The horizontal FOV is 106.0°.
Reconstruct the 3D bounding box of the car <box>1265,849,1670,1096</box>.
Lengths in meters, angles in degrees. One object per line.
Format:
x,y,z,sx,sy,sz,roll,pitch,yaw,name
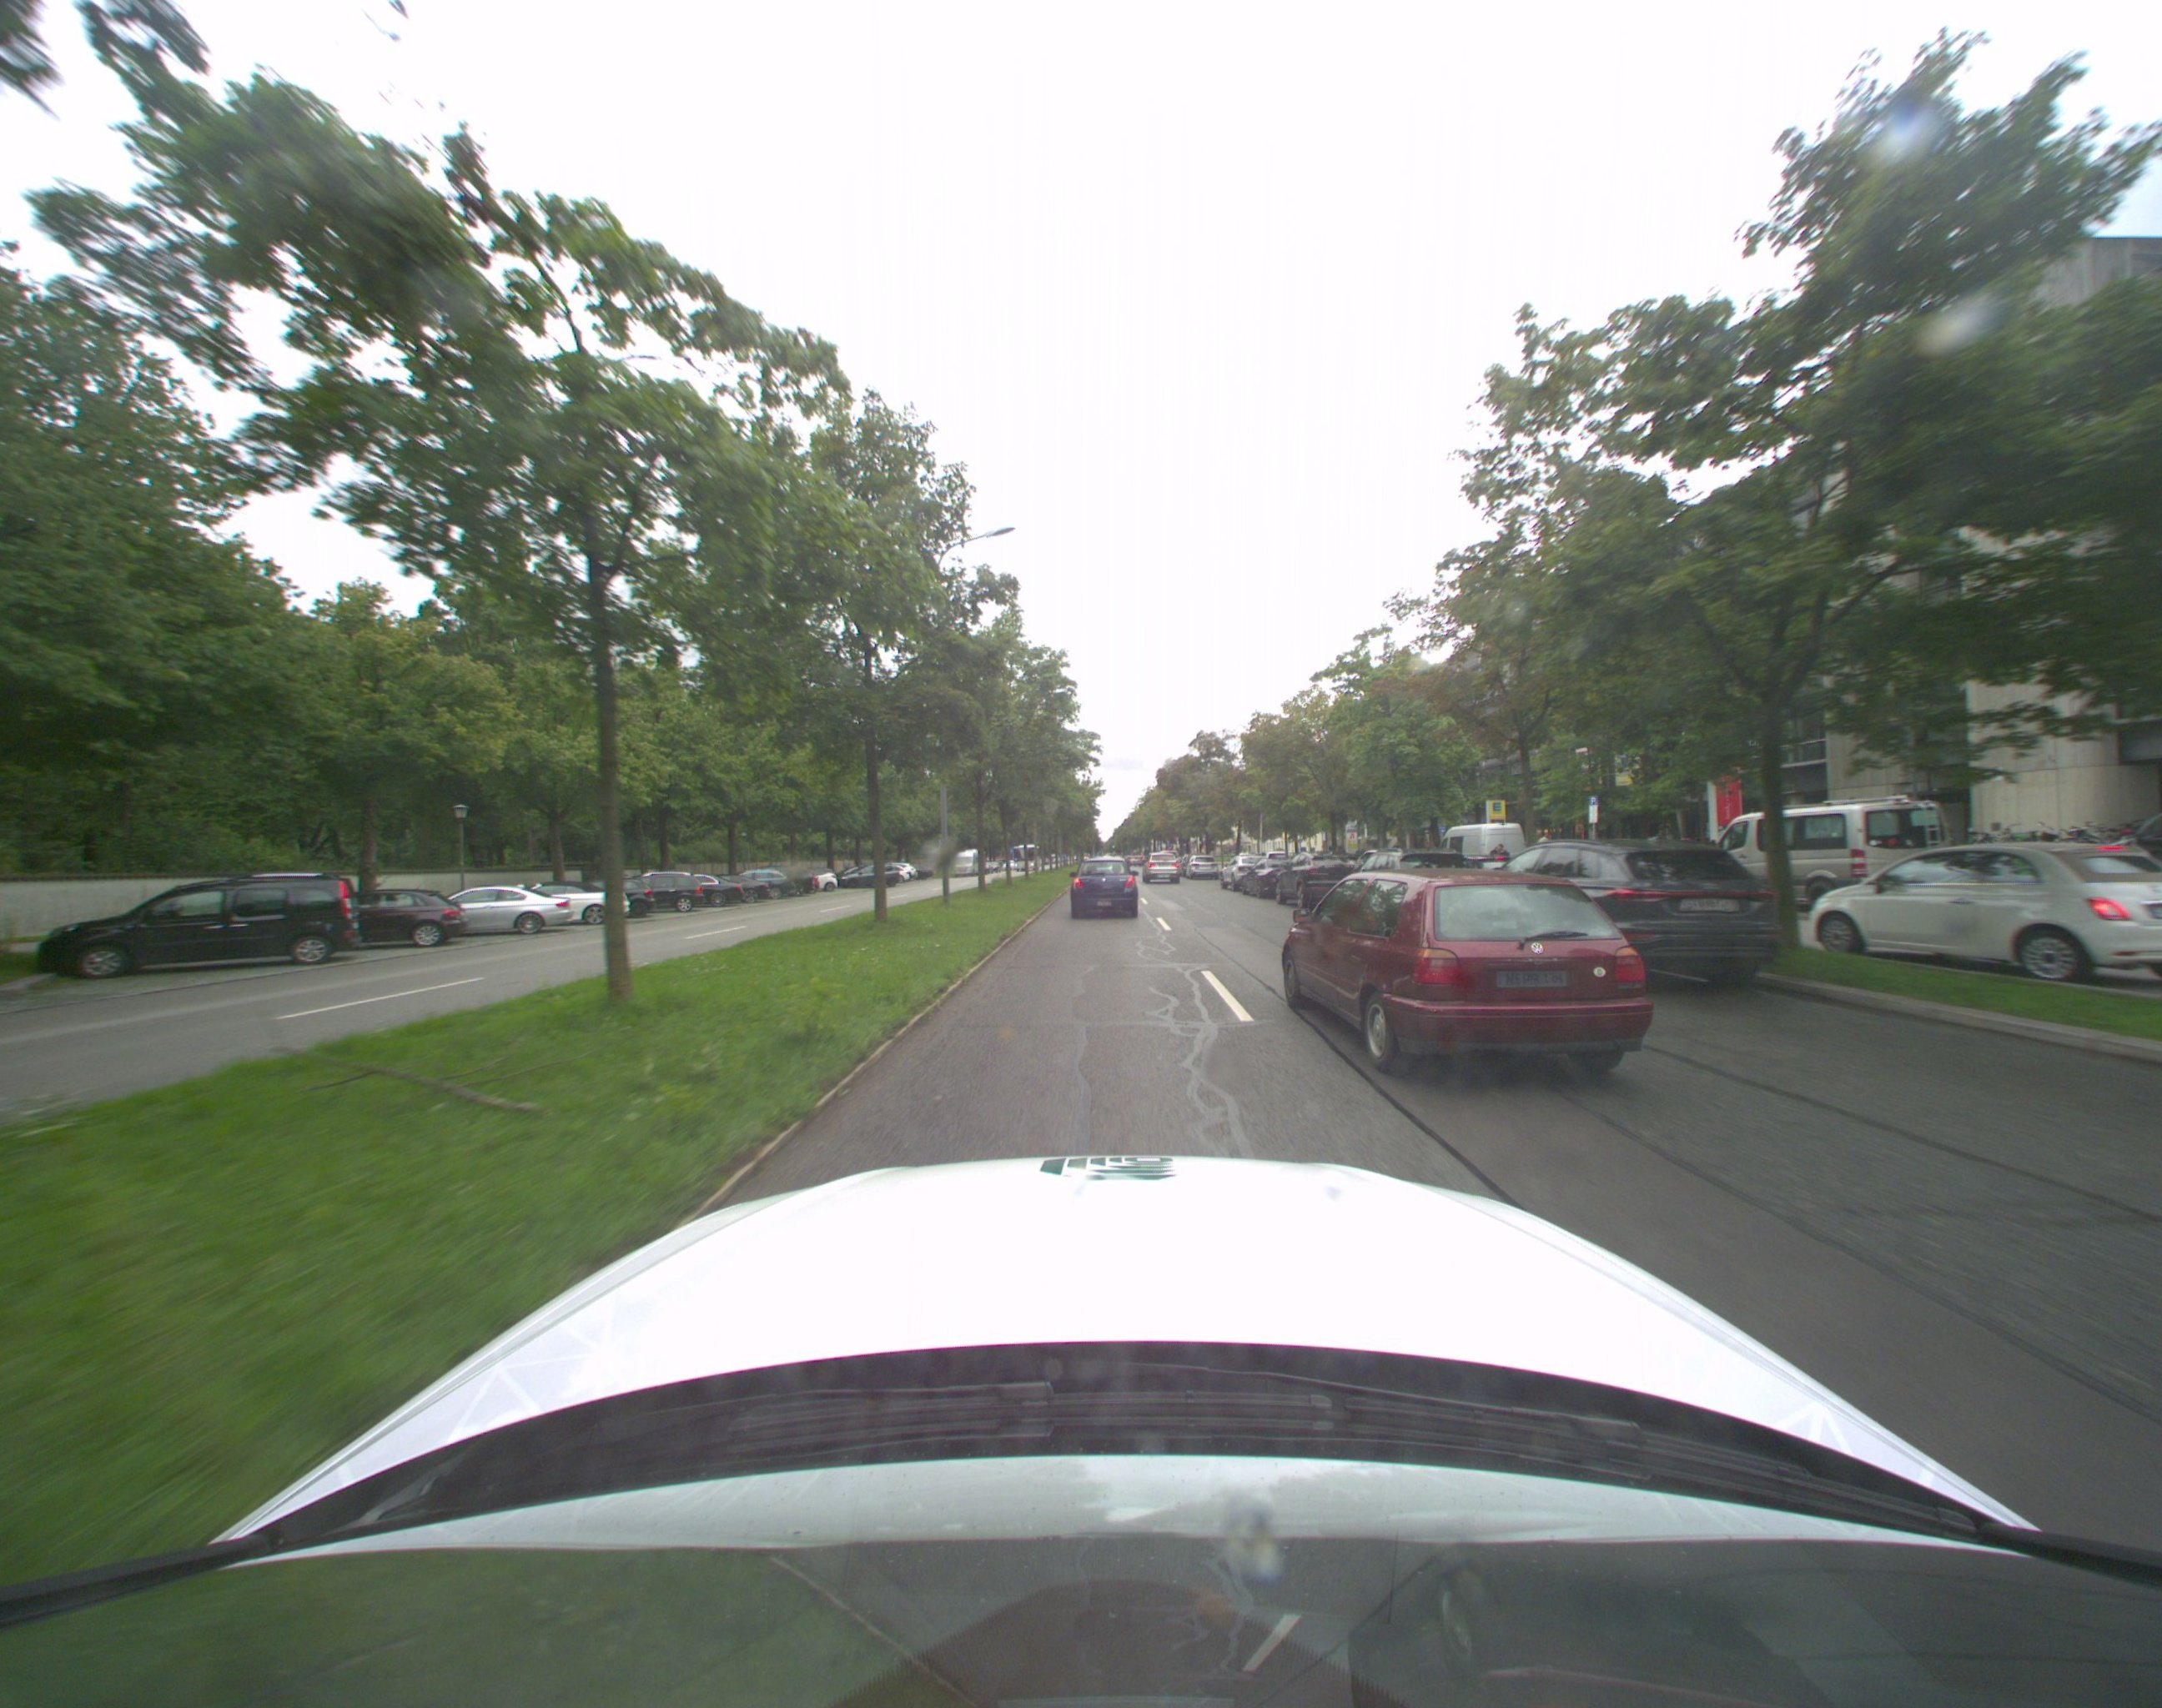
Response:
2.798,0.725,6.935,1.616,1.454,3.950,-2,0,1,car

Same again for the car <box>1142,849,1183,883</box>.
4.470,0.661,45.153,1.844,1.743,4.097,-2,0,0,car

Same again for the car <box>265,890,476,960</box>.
-17.155,1.667,19.919,3.633,1.354,1.736,-2,0,-32,car

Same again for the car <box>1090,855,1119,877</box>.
1.566,0.794,55.562,1.844,1.447,4.097,-2,0,0,car

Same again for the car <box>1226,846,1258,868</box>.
12.212,0.238,61.981,1.678,1.585,4.029,-2,0,2,car

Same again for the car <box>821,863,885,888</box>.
-16.766,1.559,59.926,4.122,1.695,1.900,-2,0,-32,car

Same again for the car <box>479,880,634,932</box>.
-16.875,1.624,26.351,4.059,1.381,1.657,-2,0,-34,car

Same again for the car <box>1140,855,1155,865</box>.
9.650,0.872,118.079,1.844,1.447,4.097,-2,0,0,car

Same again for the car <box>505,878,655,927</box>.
-17.584,1.637,28.682,4.263,1.422,1.897,-2,0,-40,car

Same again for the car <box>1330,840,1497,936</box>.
6.619,0.612,16.755,1.715,1.651,4.390,-2,0,2,car

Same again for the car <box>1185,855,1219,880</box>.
7.736,0.834,52.336,1.677,1.525,4.458,0,0,3,car

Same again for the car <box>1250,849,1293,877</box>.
11.873,0.559,51.124,1.678,1.632,4.782,-2,0,2,car

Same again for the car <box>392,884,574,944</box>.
-16.828,1.630,23.184,4.015,1.354,1.831,-2,0,-33,car

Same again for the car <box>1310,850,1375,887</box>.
11.321,0.606,35.531,1.677,1.454,4.011,-2,0,2,car

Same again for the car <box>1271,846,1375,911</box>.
6.819,0.640,23.431,1.758,1.651,4.425,-1,0,1,car

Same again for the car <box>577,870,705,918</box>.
-17.155,1.528,31.841,4.127,1.597,1.897,-2,0,-38,car

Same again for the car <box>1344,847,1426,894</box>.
11.201,0.577,30.293,1.677,1.585,4.011,-2,0,2,car

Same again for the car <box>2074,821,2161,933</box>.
17.068,0.311,11.193,1.986,1.651,4.002,-2,0,2,car

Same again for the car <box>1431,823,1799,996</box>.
6.410,0.564,10.616,1.755,1.701,4.823,-2,0,2,car

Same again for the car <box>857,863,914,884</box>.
-16.068,1.599,66.910,4.122,1.585,1.900,-2,0,-32,car

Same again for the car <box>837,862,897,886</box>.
-16.614,1.552,63.283,4.122,1.695,1.900,-2,0,-32,car

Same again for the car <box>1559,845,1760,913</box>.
14.262,0.567,20.499,1.678,1.454,4.840,-2,0,2,car

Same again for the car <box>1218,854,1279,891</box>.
7.099,0.738,34.879,1.701,1.454,4.512,0,0,0,car

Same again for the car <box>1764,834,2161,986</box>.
10.958,0.554,9.999,1.758,1.488,3.998,0,0,-1,car

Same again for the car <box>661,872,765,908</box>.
-17.255,1.643,38.180,4.213,1.410,1.900,-2,0,-32,car

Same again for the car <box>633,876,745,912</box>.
-17.014,1.690,35.393,4.217,1.322,1.900,-2,0,-32,car

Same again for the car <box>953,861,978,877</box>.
-11.994,1.570,84.518,1.907,1.542,4.187,-2,0,0,car

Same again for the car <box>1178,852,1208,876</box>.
7.923,0.712,57.844,1.677,1.626,4.309,0,0,3,car

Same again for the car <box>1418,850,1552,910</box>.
11.141,0.658,22.788,1.742,1.479,4.009,-2,0,0,car

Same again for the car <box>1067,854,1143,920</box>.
0.582,0.800,21.630,1.783,1.555,4.000,-2,0,0,car

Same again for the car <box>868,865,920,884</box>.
-16.657,1.794,72.523,4.122,1.474,1.900,-2,0,-32,car

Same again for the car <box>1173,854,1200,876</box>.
8.102,0.831,63.004,1.677,1.553,4.309,-2,0,3,car

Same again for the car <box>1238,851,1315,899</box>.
6.909,0.690,29.221,1.758,1.546,4.425,-1,0,1,car

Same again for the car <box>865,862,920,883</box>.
-16.191,1.579,69.938,4.122,1.652,1.900,-2,0,-32,car
